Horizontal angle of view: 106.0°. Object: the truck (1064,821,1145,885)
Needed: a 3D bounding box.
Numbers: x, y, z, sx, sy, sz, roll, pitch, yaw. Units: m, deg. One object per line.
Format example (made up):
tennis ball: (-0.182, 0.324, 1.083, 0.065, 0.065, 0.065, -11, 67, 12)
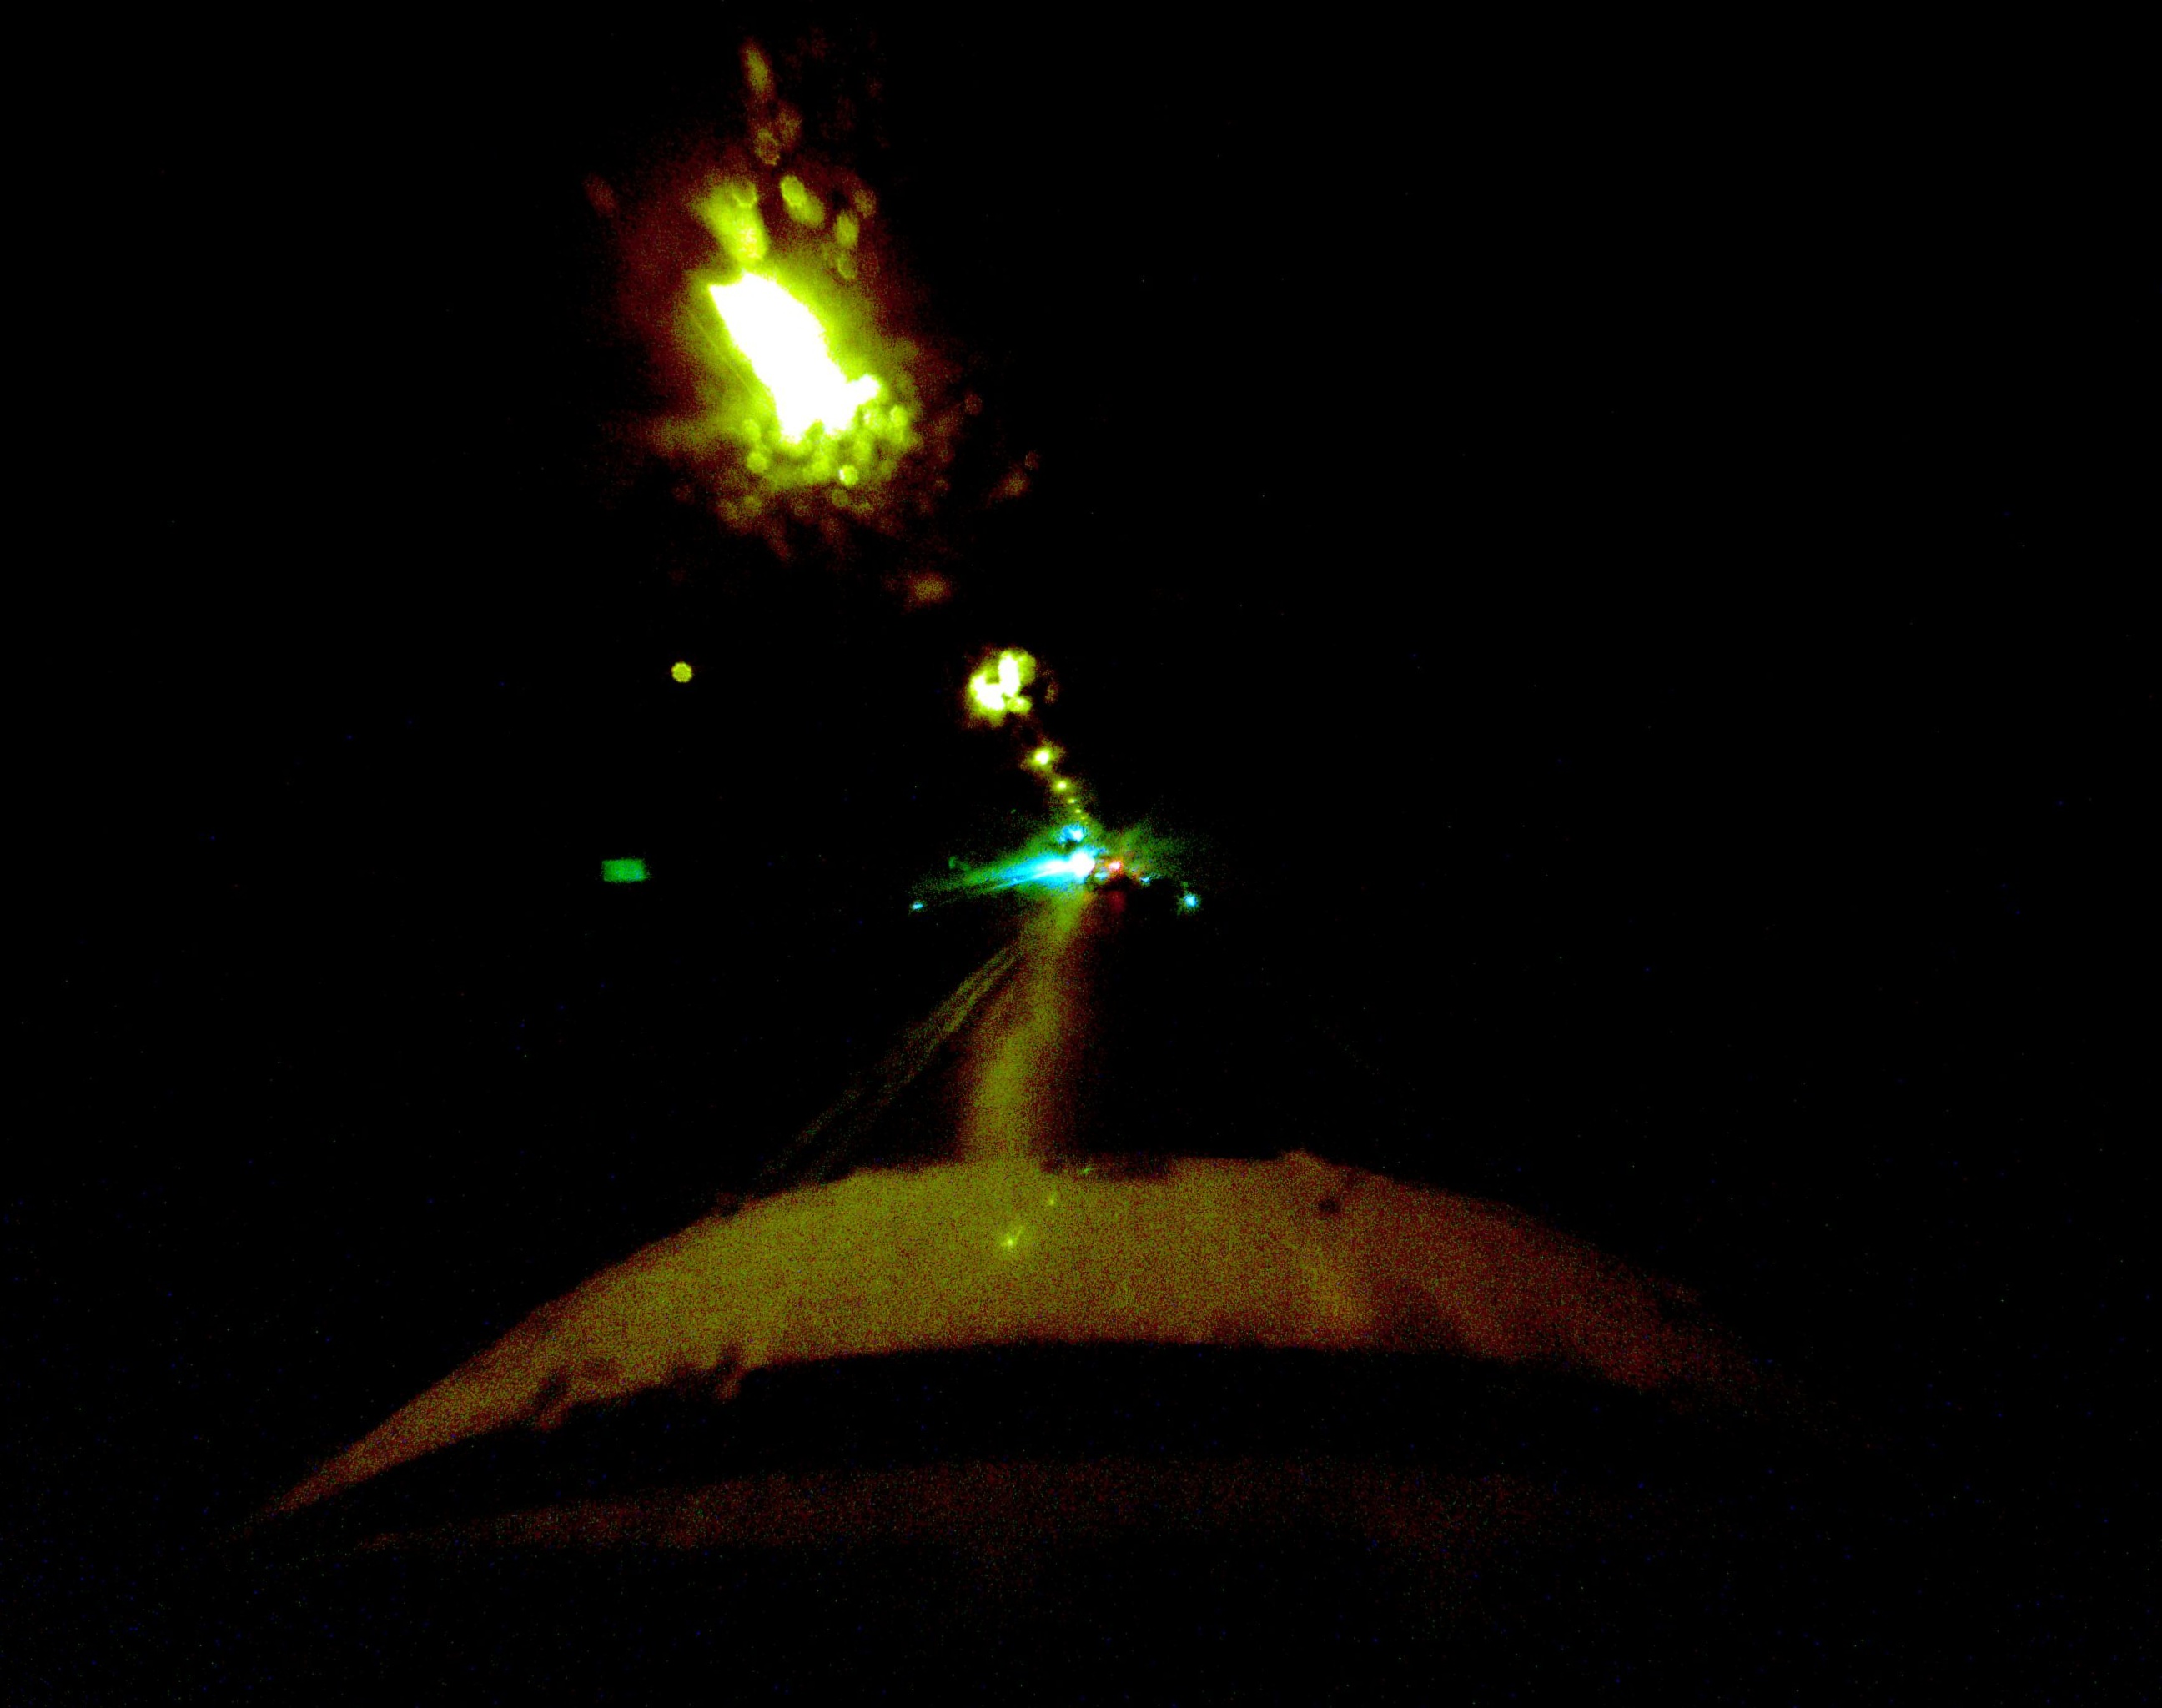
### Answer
truck: (1.225, -0.048, 41.463, 3.522, 2.693, 8.960, -3, 0, 2)
